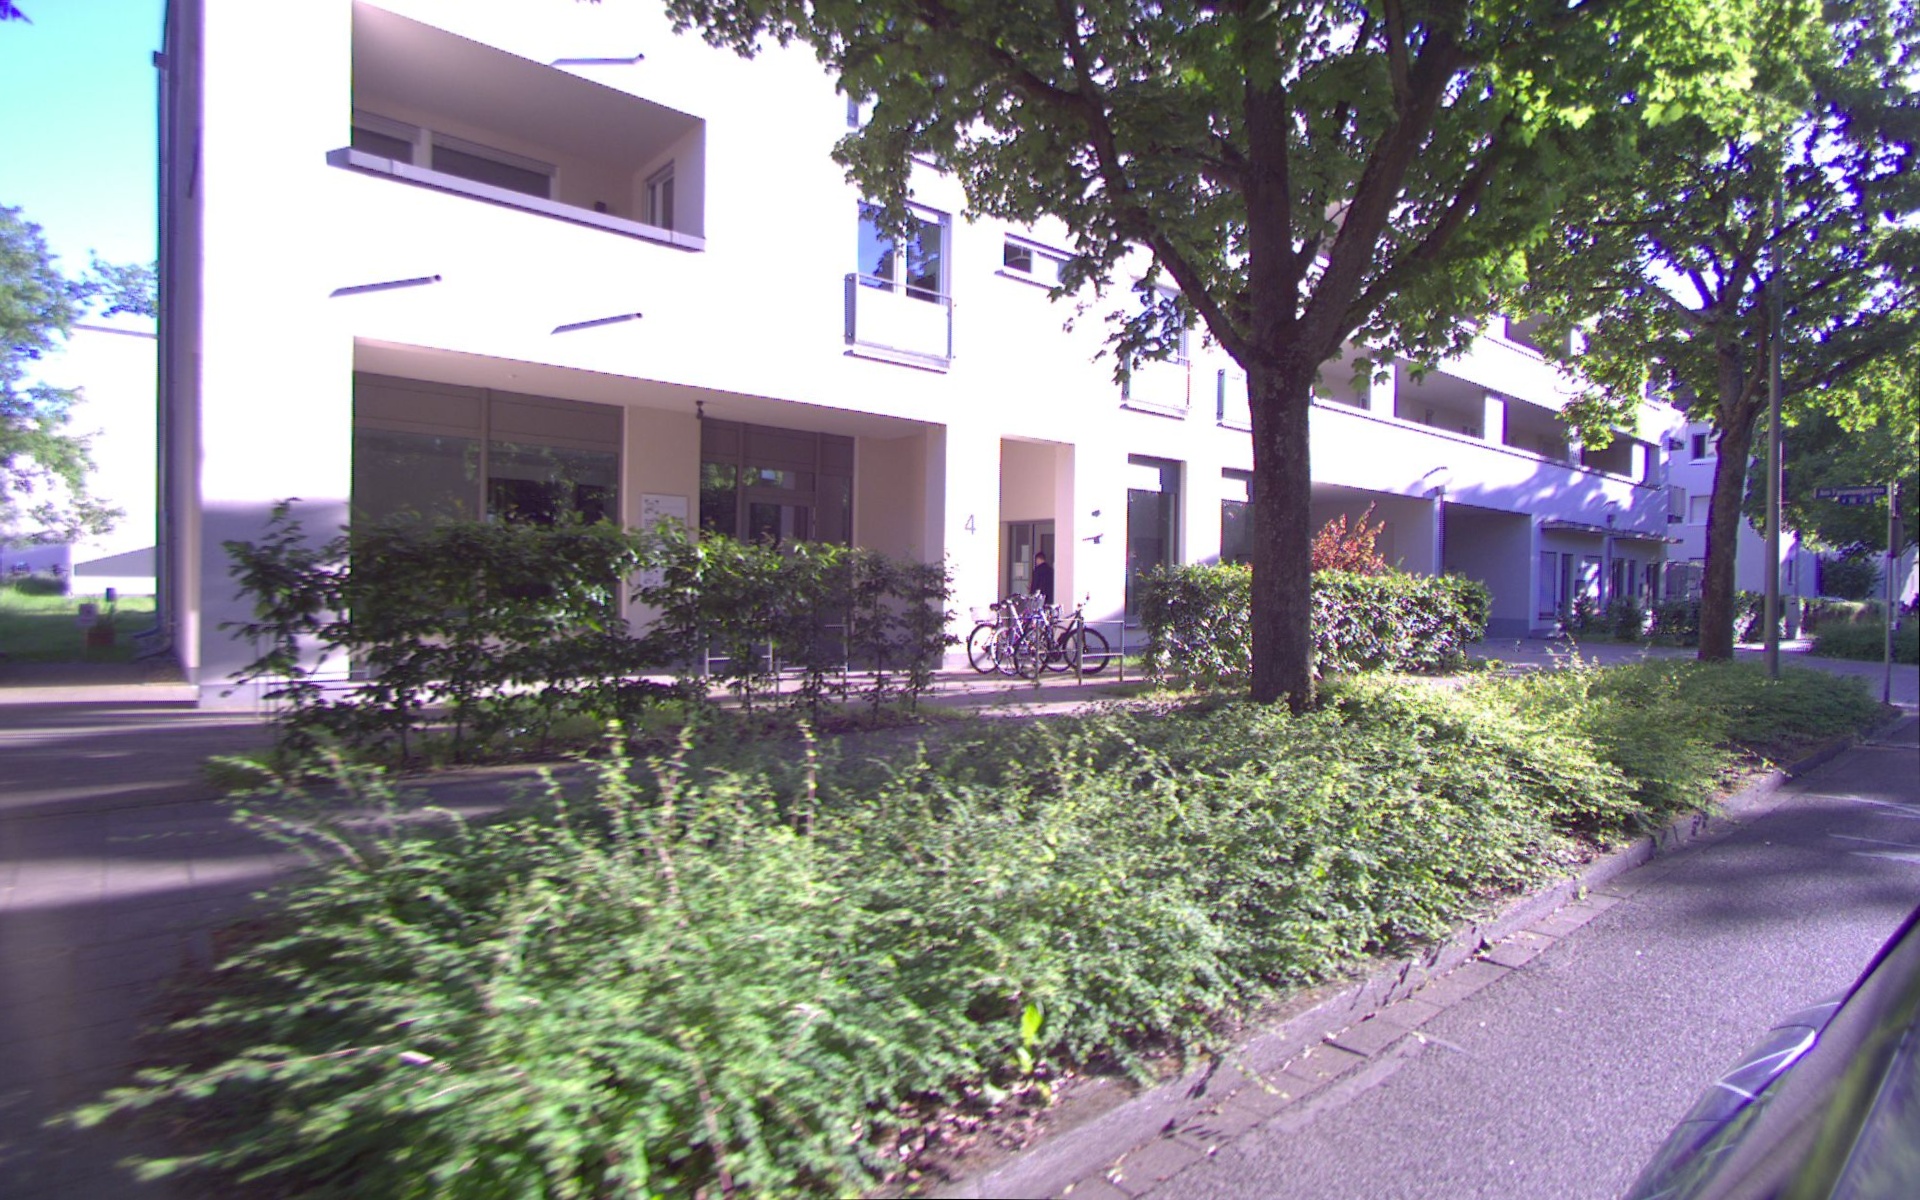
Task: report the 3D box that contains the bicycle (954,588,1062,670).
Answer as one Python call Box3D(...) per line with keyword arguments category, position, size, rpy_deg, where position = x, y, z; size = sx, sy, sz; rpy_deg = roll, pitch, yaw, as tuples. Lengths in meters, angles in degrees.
Box3D(category="bicycle", position=(0.716, 0.396, 14.604), size=(1.756, 1.125, 0.419), rpy_deg=(0, 0, -41))

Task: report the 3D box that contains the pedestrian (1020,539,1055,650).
Box3D(category="pedestrian", position=(1.344, -0.094, 17.547), size=(0.476, 1.897, 0.378), rpy_deg=(0, 0, -29))

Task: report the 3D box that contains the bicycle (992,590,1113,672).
Box3D(category="bicycle", position=(1.367, 0.413, 14.579), size=(2.076, 1.101, 0.419), rpy_deg=(0, 0, -41))

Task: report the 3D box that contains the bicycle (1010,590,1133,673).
Box3D(category="bicycle", position=(1.598, 0.408, 14.169), size=(2.076, 1.101, 0.419), rpy_deg=(0, 0, -41))
